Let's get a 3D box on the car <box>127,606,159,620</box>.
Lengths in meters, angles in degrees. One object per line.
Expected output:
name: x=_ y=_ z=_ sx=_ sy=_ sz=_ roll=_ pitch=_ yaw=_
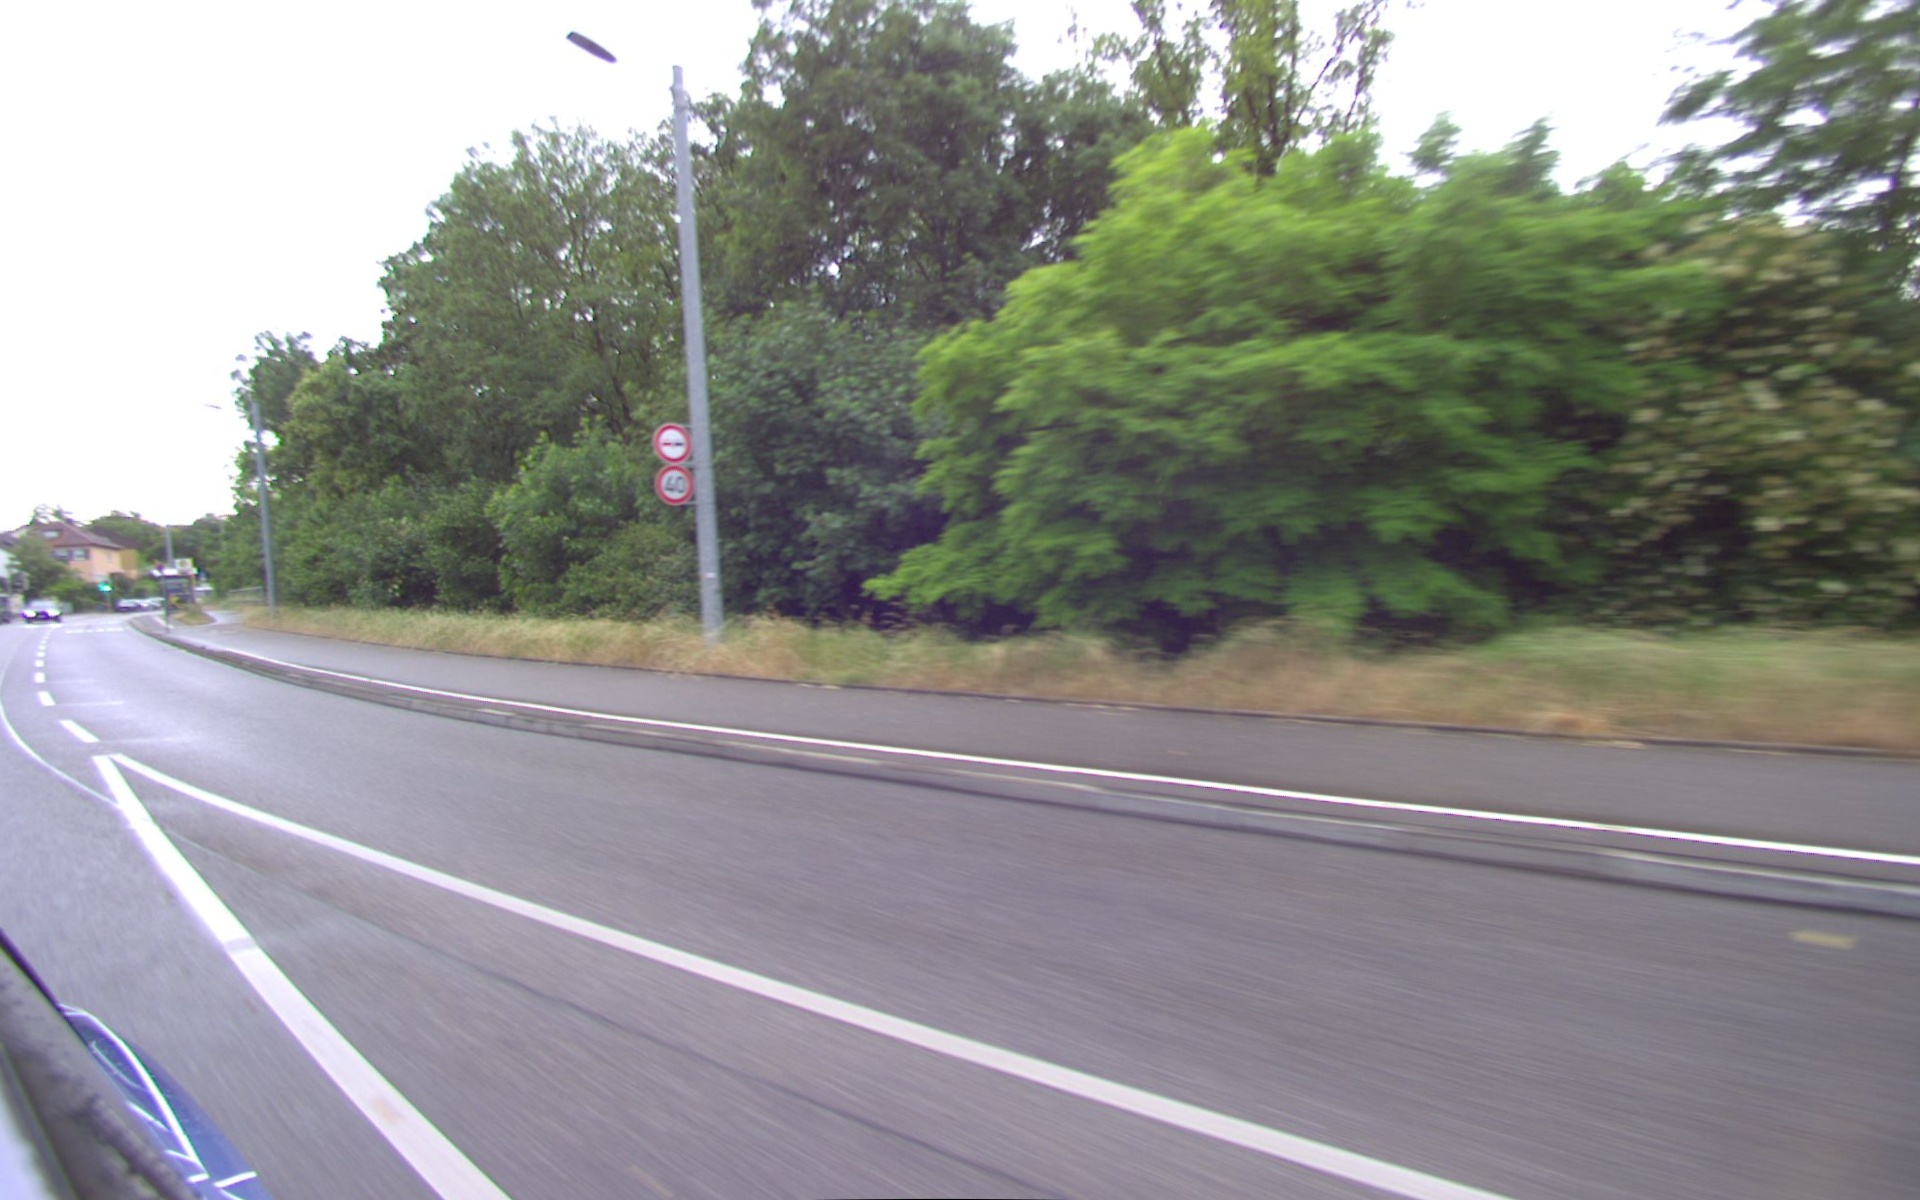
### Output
car: x=-94.136 y=1.490 z=116.627 sx=1.843 sy=1.501 sz=4.013 roll=0 pitch=0 yaw=-23

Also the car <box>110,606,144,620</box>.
car: x=-91.858 y=1.459 z=111.637 sx=1.843 sy=1.501 sz=4.013 roll=0 pitch=0 yaw=-23

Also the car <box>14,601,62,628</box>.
car: x=-62.010 y=0.950 z=68.121 sx=1.968 sy=1.730 sz=4.009 roll=-2 pitch=0 yaw=-37

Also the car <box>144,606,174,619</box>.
car: x=-96.588 y=1.527 z=122.087 sx=1.843 sy=1.501 sz=4.013 roll=0 pitch=0 yaw=-23
